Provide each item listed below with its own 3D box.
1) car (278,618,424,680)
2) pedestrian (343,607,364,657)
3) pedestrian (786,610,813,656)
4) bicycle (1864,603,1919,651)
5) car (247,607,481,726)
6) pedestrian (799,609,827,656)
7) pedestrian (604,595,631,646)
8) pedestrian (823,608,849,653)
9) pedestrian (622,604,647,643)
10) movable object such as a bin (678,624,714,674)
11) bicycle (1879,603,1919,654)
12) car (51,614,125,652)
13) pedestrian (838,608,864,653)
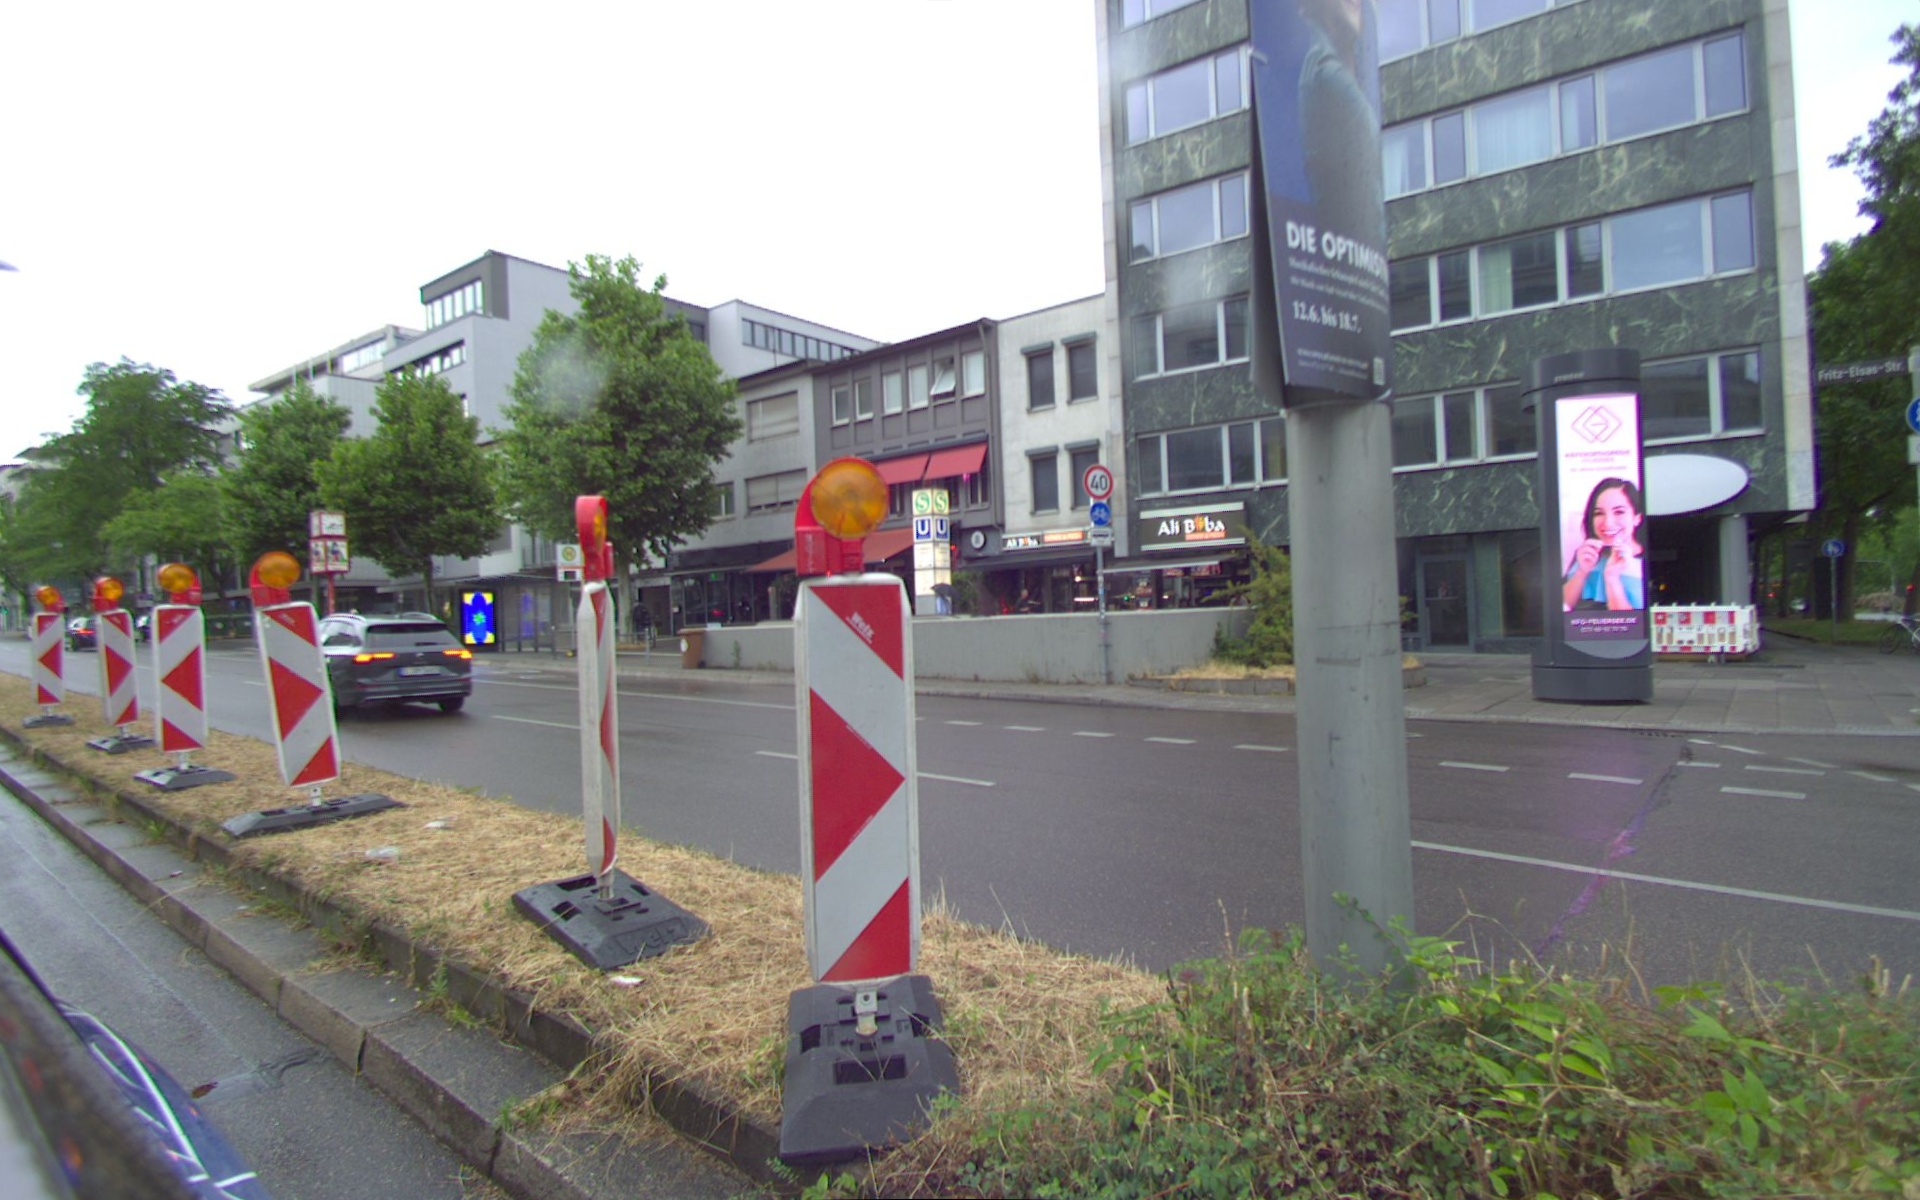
[{"bbox_3d":[-15.749,1.208,26.115,4.203,1.442,1.673,-1,-1,34],"label":"car"},{"bbox_3d":[-22.477,1.186,37.499,0.567,1.839,0.581,-1,0,-43],"label":"pedestrian"},{"bbox_3d":[-5.451,1.114,34.313,0.611,1.540,0.660,-2,-1,44],"label":"pedestrian"},{"bbox_3d":[21.251,0.592,22.391,1.780,1.060,0.579,-1,-1,37],"label":"bicycle"},{"bbox_3d":[-8.954,0.906,15.051,4.287,1.522,1.670,-2,-1,40],"label":"car"},{"bbox_3d":[-4.866,1.068,33.477,0.611,1.540,0.660,-2,-1,44],"label":"pedestrian"},{"bbox_3d":[-13.835,0.827,40.903,0.764,2.029,0.768,-1,0,-41],"label":"pedestrian"},{"bbox_3d":[-4.330,1.063,35.406,0.611,1.540,0.660,-2,-1,44],"label":"pedestrian"},{"bbox_3d":[-13.400,0.968,41.662,0.764,1.577,0.768,-1,0,-41],"label":"pedestrian"},{"bbox_3d":[-6.113,1.129,23.455,0.660,1.109,0.501,-1,0,39],"label":"movable object such as a bin"},{"bbox_3d":[20.756,0.598,21.483,1.780,1.060,0.579,-1,-1,37],"label":"bicycle"},{"bbox_3d":[-38.173,1.396,44.270,4.415,1.566,1.671,-1,0,39],"label":"car"},{"bbox_3d":[-3.766,1.043,35.020,0.611,1.540,0.660,-2,-1,44],"label":"pedestrian"}]
